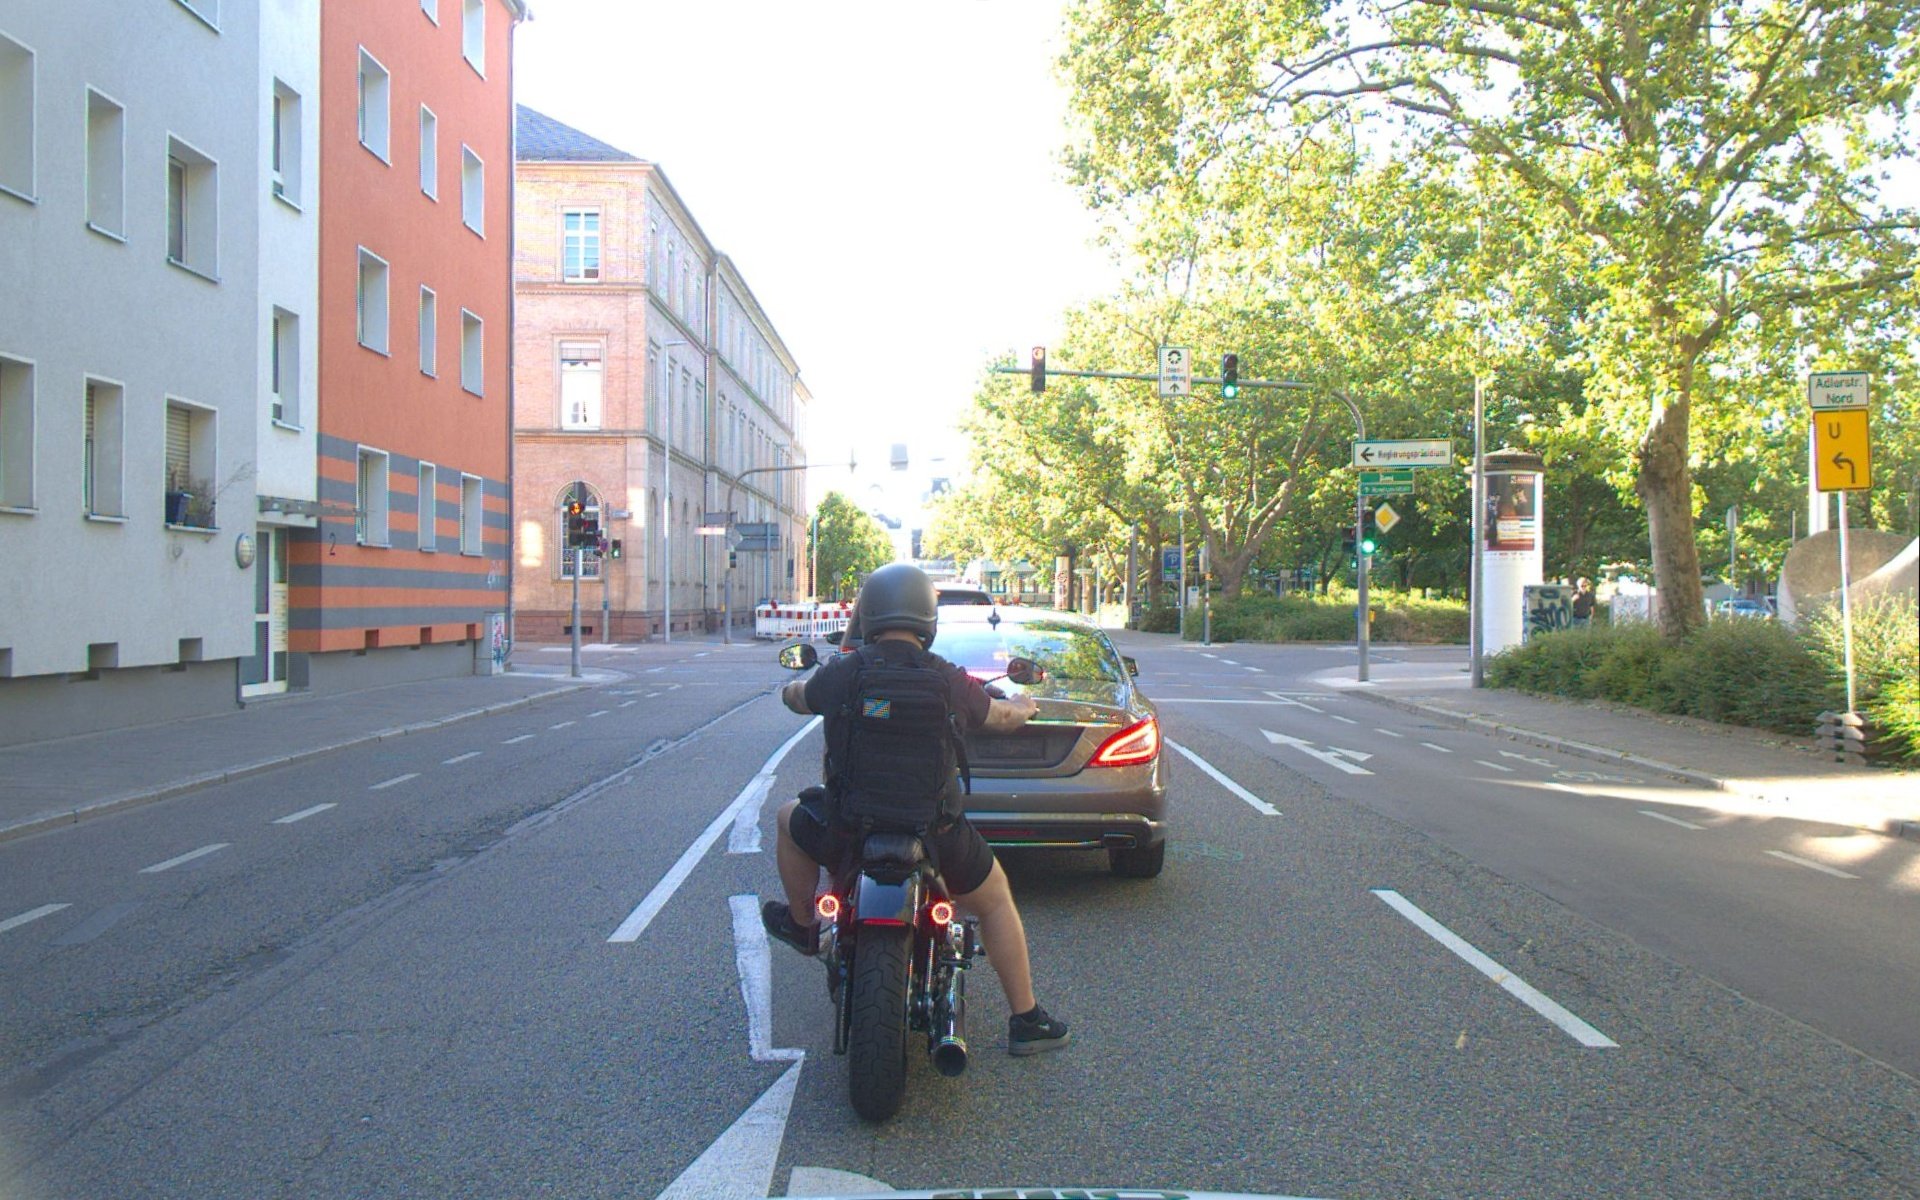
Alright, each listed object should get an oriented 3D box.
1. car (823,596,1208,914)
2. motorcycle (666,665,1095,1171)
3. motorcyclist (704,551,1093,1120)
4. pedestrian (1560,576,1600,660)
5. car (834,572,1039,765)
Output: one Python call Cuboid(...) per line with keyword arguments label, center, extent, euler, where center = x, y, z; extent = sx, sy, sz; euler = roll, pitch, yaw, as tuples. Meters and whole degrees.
Cuboid(label="car", center=(0.237, 0.736, 9.654), extent=(1.785, 1.462, 3.805), euler=(1, 0, -1))
Cuboid(label="motorcycle", center=(-0.125, 0.876, 5.482), extent=(1.094, 1.228, 2.213), euler=(1, 0, 5))
Cuboid(label="motorcyclist", center=(-0.138, 0.665, 5.262), extent=(1.076, 1.593, 1.072), euler=(1, 0, 5))
Cuboid(label="pedestrian", center=(13.590, 0.381, 36.245), extent=(0.720, 1.809, 0.730), euler=(1, -1, 14))
Cuboid(label="car", center=(-0.237, 0.628, 16.927), extent=(1.825, 1.707, 3.999), euler=(1, 0, -1))
